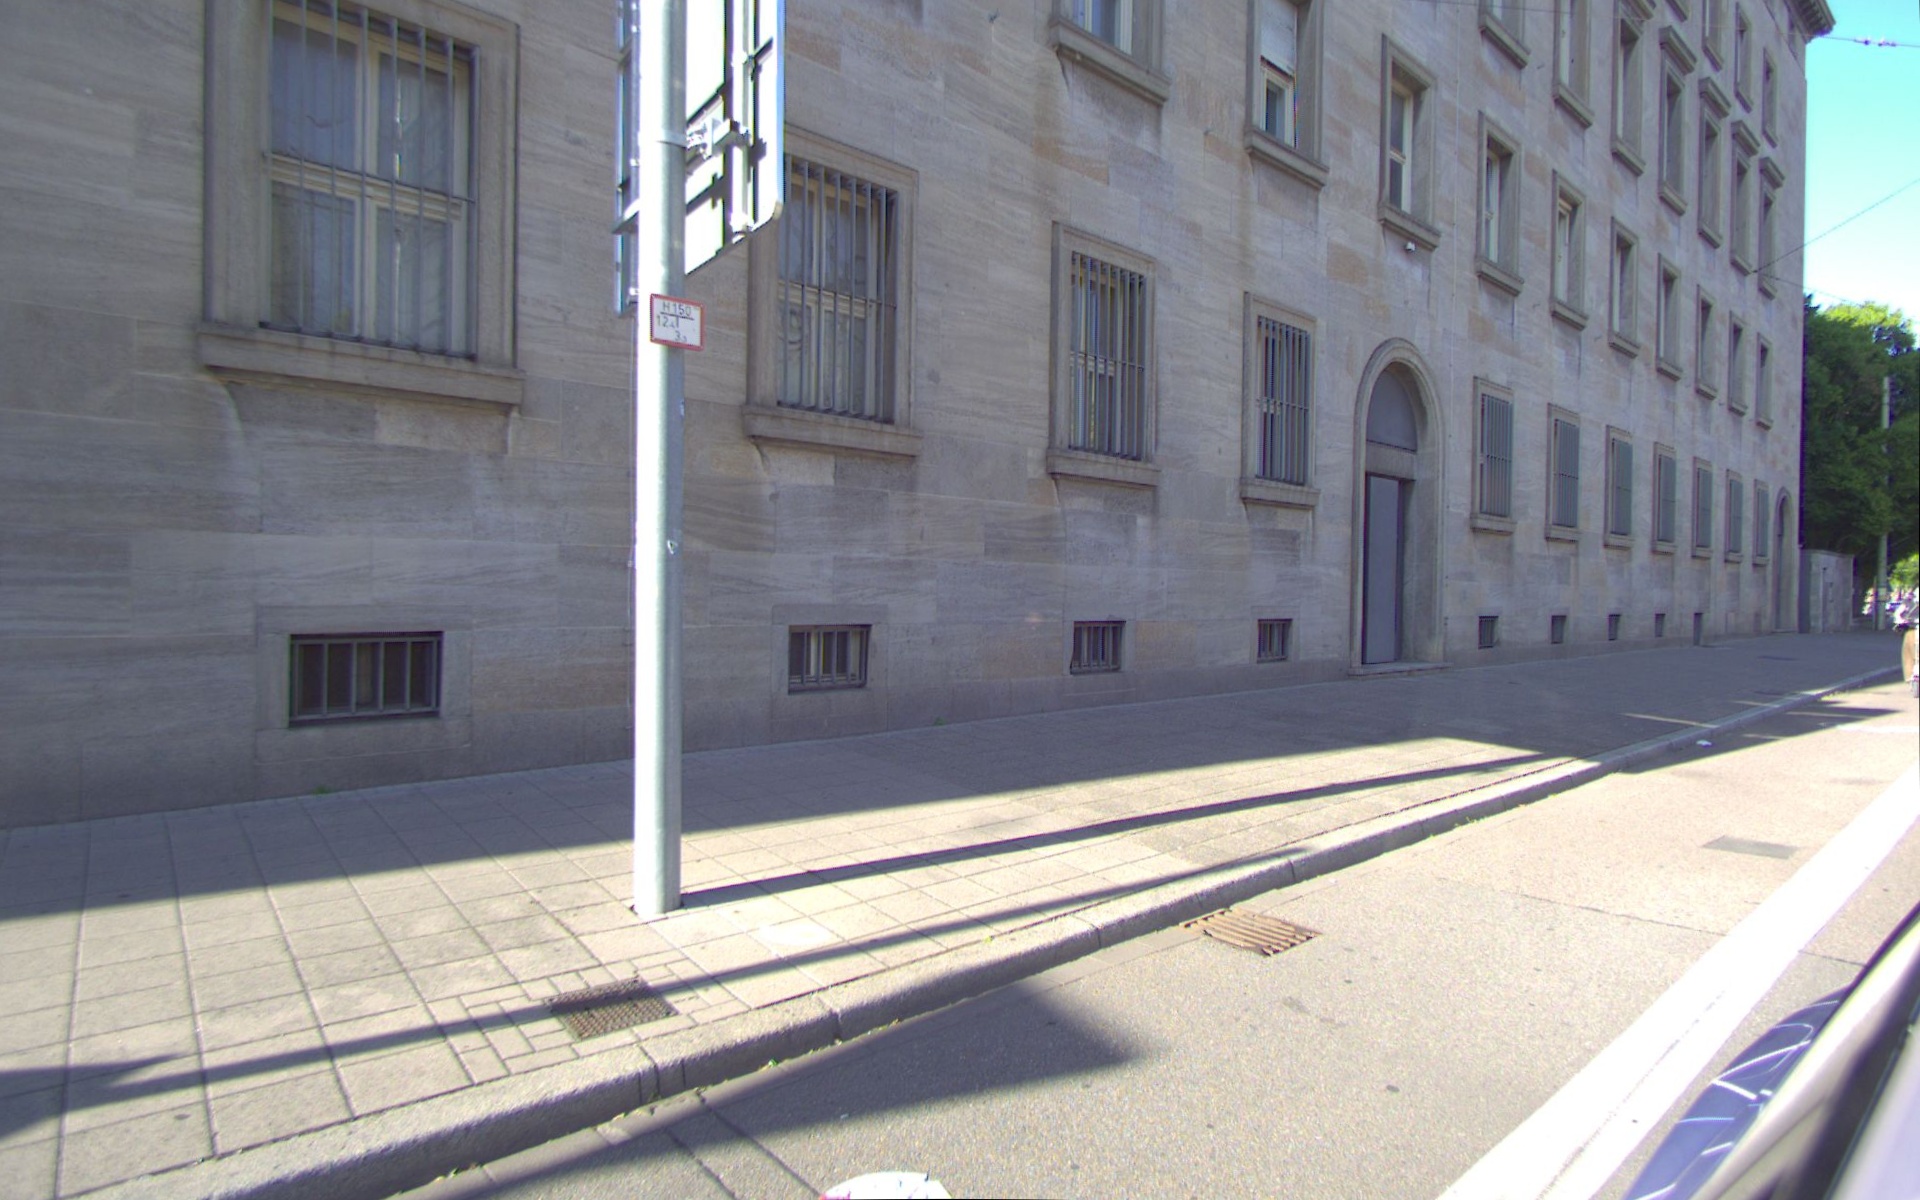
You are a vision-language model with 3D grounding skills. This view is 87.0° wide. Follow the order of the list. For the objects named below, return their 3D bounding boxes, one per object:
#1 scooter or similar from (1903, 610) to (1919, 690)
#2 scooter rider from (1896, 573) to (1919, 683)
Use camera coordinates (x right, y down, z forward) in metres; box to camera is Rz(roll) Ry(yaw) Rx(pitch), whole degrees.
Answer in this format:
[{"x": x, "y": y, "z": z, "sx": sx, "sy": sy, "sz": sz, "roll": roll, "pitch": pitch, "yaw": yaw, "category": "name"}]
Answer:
[{"x": 15.127, "y": 0.767, "z": 15.751, "sx": 1.305, "sy": 1.200, "sz": 0.535, "roll": 0, "pitch": 1, "yaw": -42, "category": "scooter or similar"}, {"x": 15.070, "y": 0.435, "z": 15.698, "sx": 0.547, "sy": 1.692, "sz": 0.730, "roll": 0, "pitch": 1, "yaw": -41, "category": "scooter rider"}]
